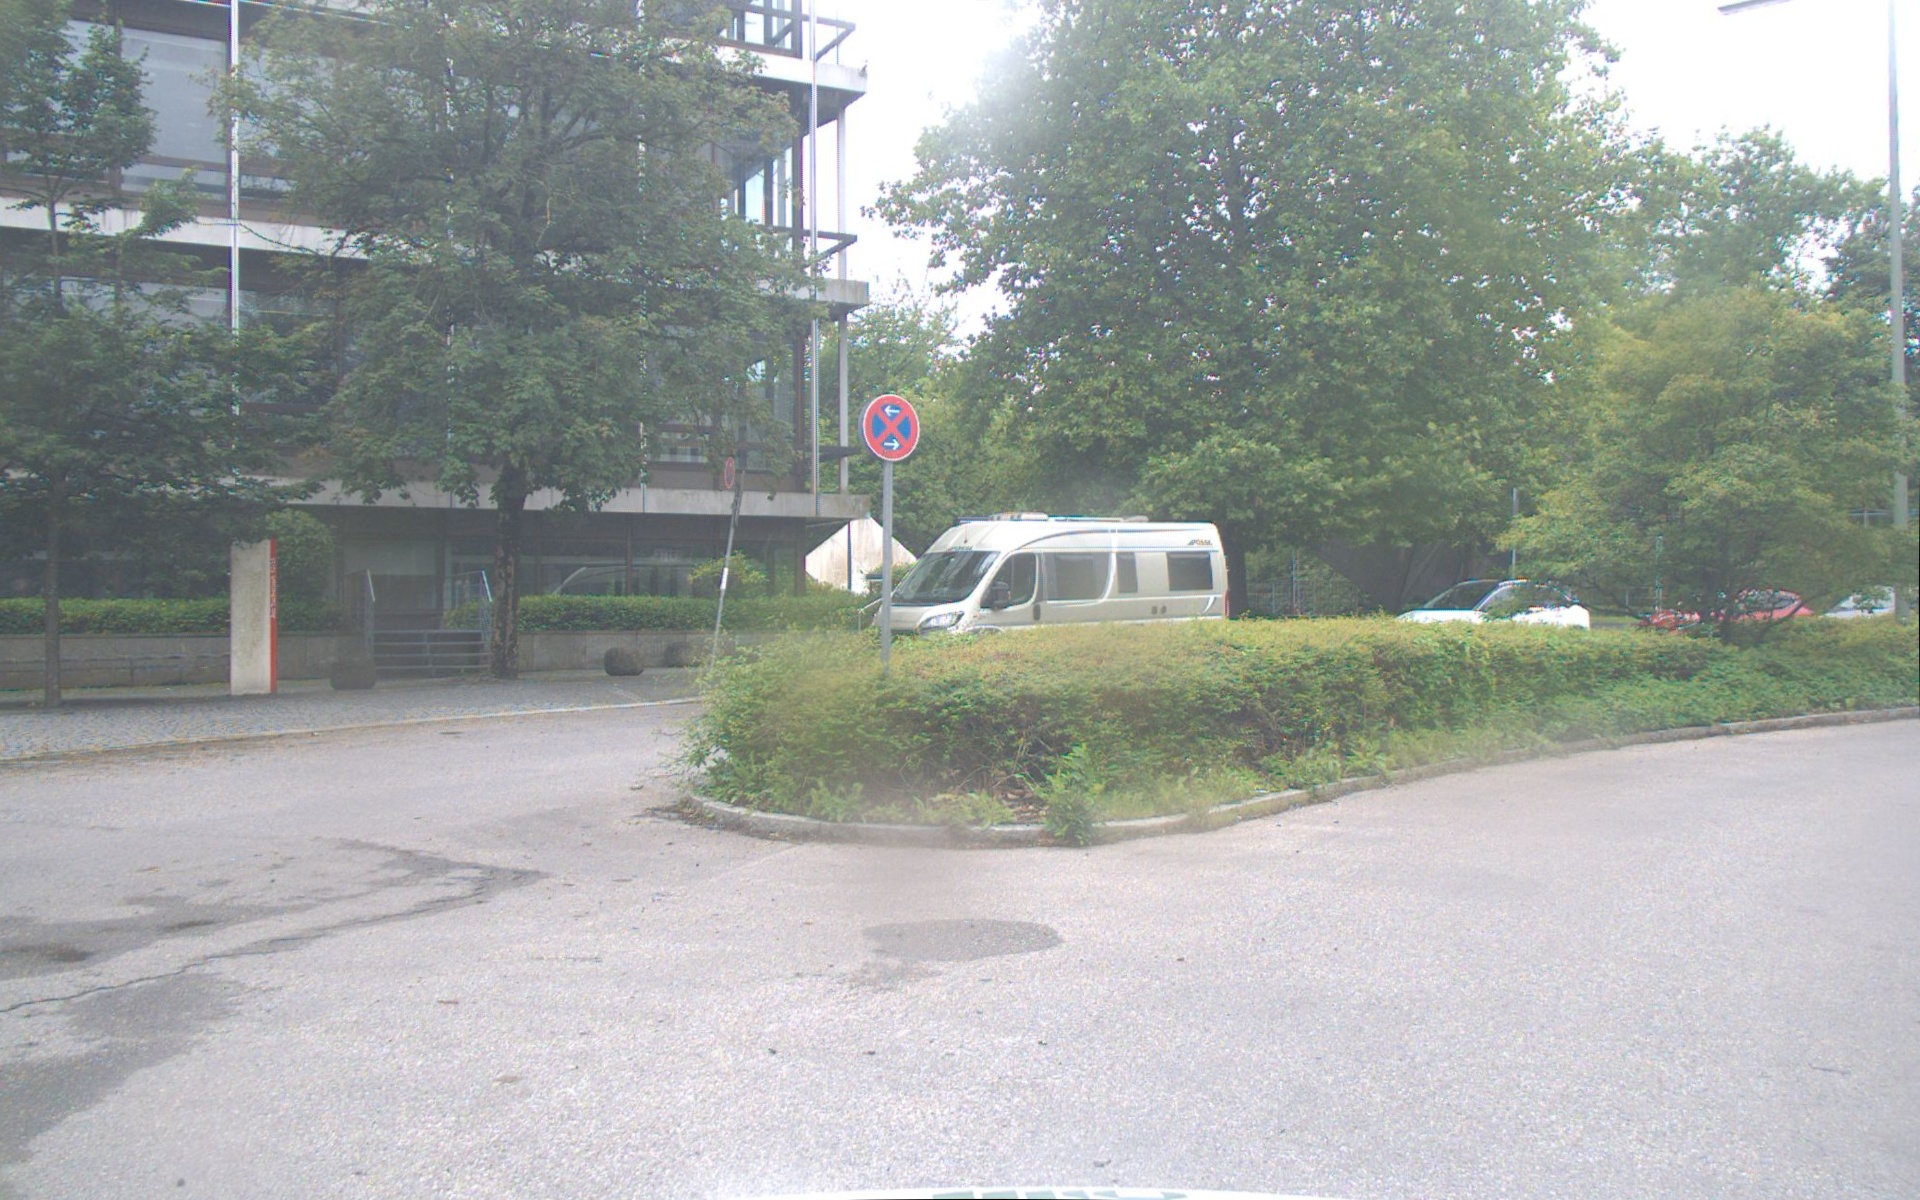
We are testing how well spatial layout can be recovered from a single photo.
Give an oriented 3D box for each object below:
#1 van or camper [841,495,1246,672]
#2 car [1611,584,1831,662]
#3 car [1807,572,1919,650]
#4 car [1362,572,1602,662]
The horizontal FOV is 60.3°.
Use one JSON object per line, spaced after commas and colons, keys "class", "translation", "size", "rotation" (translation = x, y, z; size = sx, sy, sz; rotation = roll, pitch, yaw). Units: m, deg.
{"class": "van or camper", "translation": [1.405, -0.223, 24.672], "size": [6.364, 2.321, 2.220], "rotation": [0, 0, -42]}
{"class": "car", "translation": [15.170, 0.432, 32.971], "size": [3.939, 1.434, 1.983], "rotation": [-1, 0, -27]}
{"class": "car", "translation": [20.456, 0.211, 35.643], "size": [3.939, 1.602, 1.983], "rotation": [-1, 0, -27]}
{"class": "car", "translation": [9.538, 0.273, 30.199], "size": [3.939, 1.534, 1.983], "rotation": [-1, 0, -27]}
